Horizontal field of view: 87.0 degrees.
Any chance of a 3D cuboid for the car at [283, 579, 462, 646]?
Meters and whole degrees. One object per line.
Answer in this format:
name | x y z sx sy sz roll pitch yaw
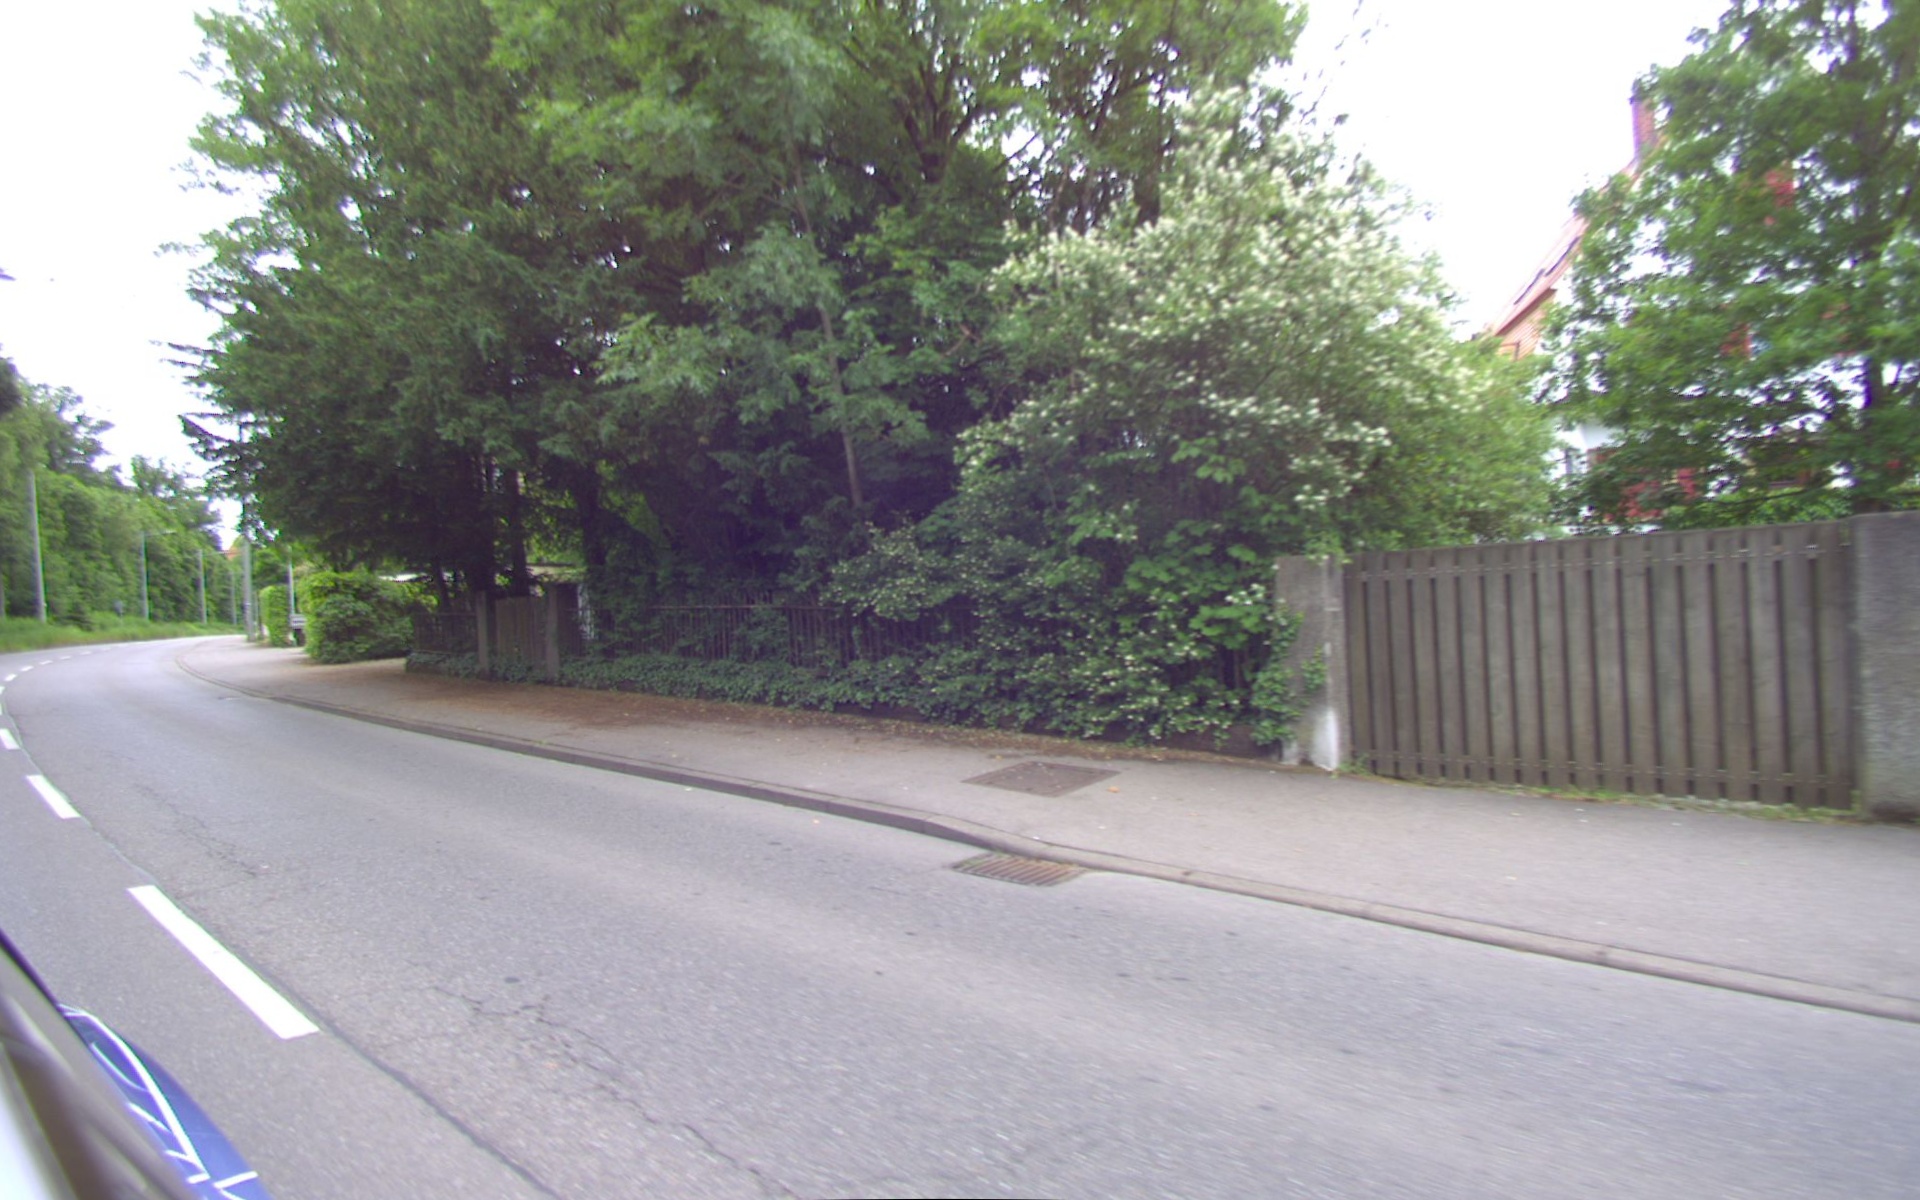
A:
car | -20.531 0.430 35.453 5.314 2.088 2.413 -2 1 17
